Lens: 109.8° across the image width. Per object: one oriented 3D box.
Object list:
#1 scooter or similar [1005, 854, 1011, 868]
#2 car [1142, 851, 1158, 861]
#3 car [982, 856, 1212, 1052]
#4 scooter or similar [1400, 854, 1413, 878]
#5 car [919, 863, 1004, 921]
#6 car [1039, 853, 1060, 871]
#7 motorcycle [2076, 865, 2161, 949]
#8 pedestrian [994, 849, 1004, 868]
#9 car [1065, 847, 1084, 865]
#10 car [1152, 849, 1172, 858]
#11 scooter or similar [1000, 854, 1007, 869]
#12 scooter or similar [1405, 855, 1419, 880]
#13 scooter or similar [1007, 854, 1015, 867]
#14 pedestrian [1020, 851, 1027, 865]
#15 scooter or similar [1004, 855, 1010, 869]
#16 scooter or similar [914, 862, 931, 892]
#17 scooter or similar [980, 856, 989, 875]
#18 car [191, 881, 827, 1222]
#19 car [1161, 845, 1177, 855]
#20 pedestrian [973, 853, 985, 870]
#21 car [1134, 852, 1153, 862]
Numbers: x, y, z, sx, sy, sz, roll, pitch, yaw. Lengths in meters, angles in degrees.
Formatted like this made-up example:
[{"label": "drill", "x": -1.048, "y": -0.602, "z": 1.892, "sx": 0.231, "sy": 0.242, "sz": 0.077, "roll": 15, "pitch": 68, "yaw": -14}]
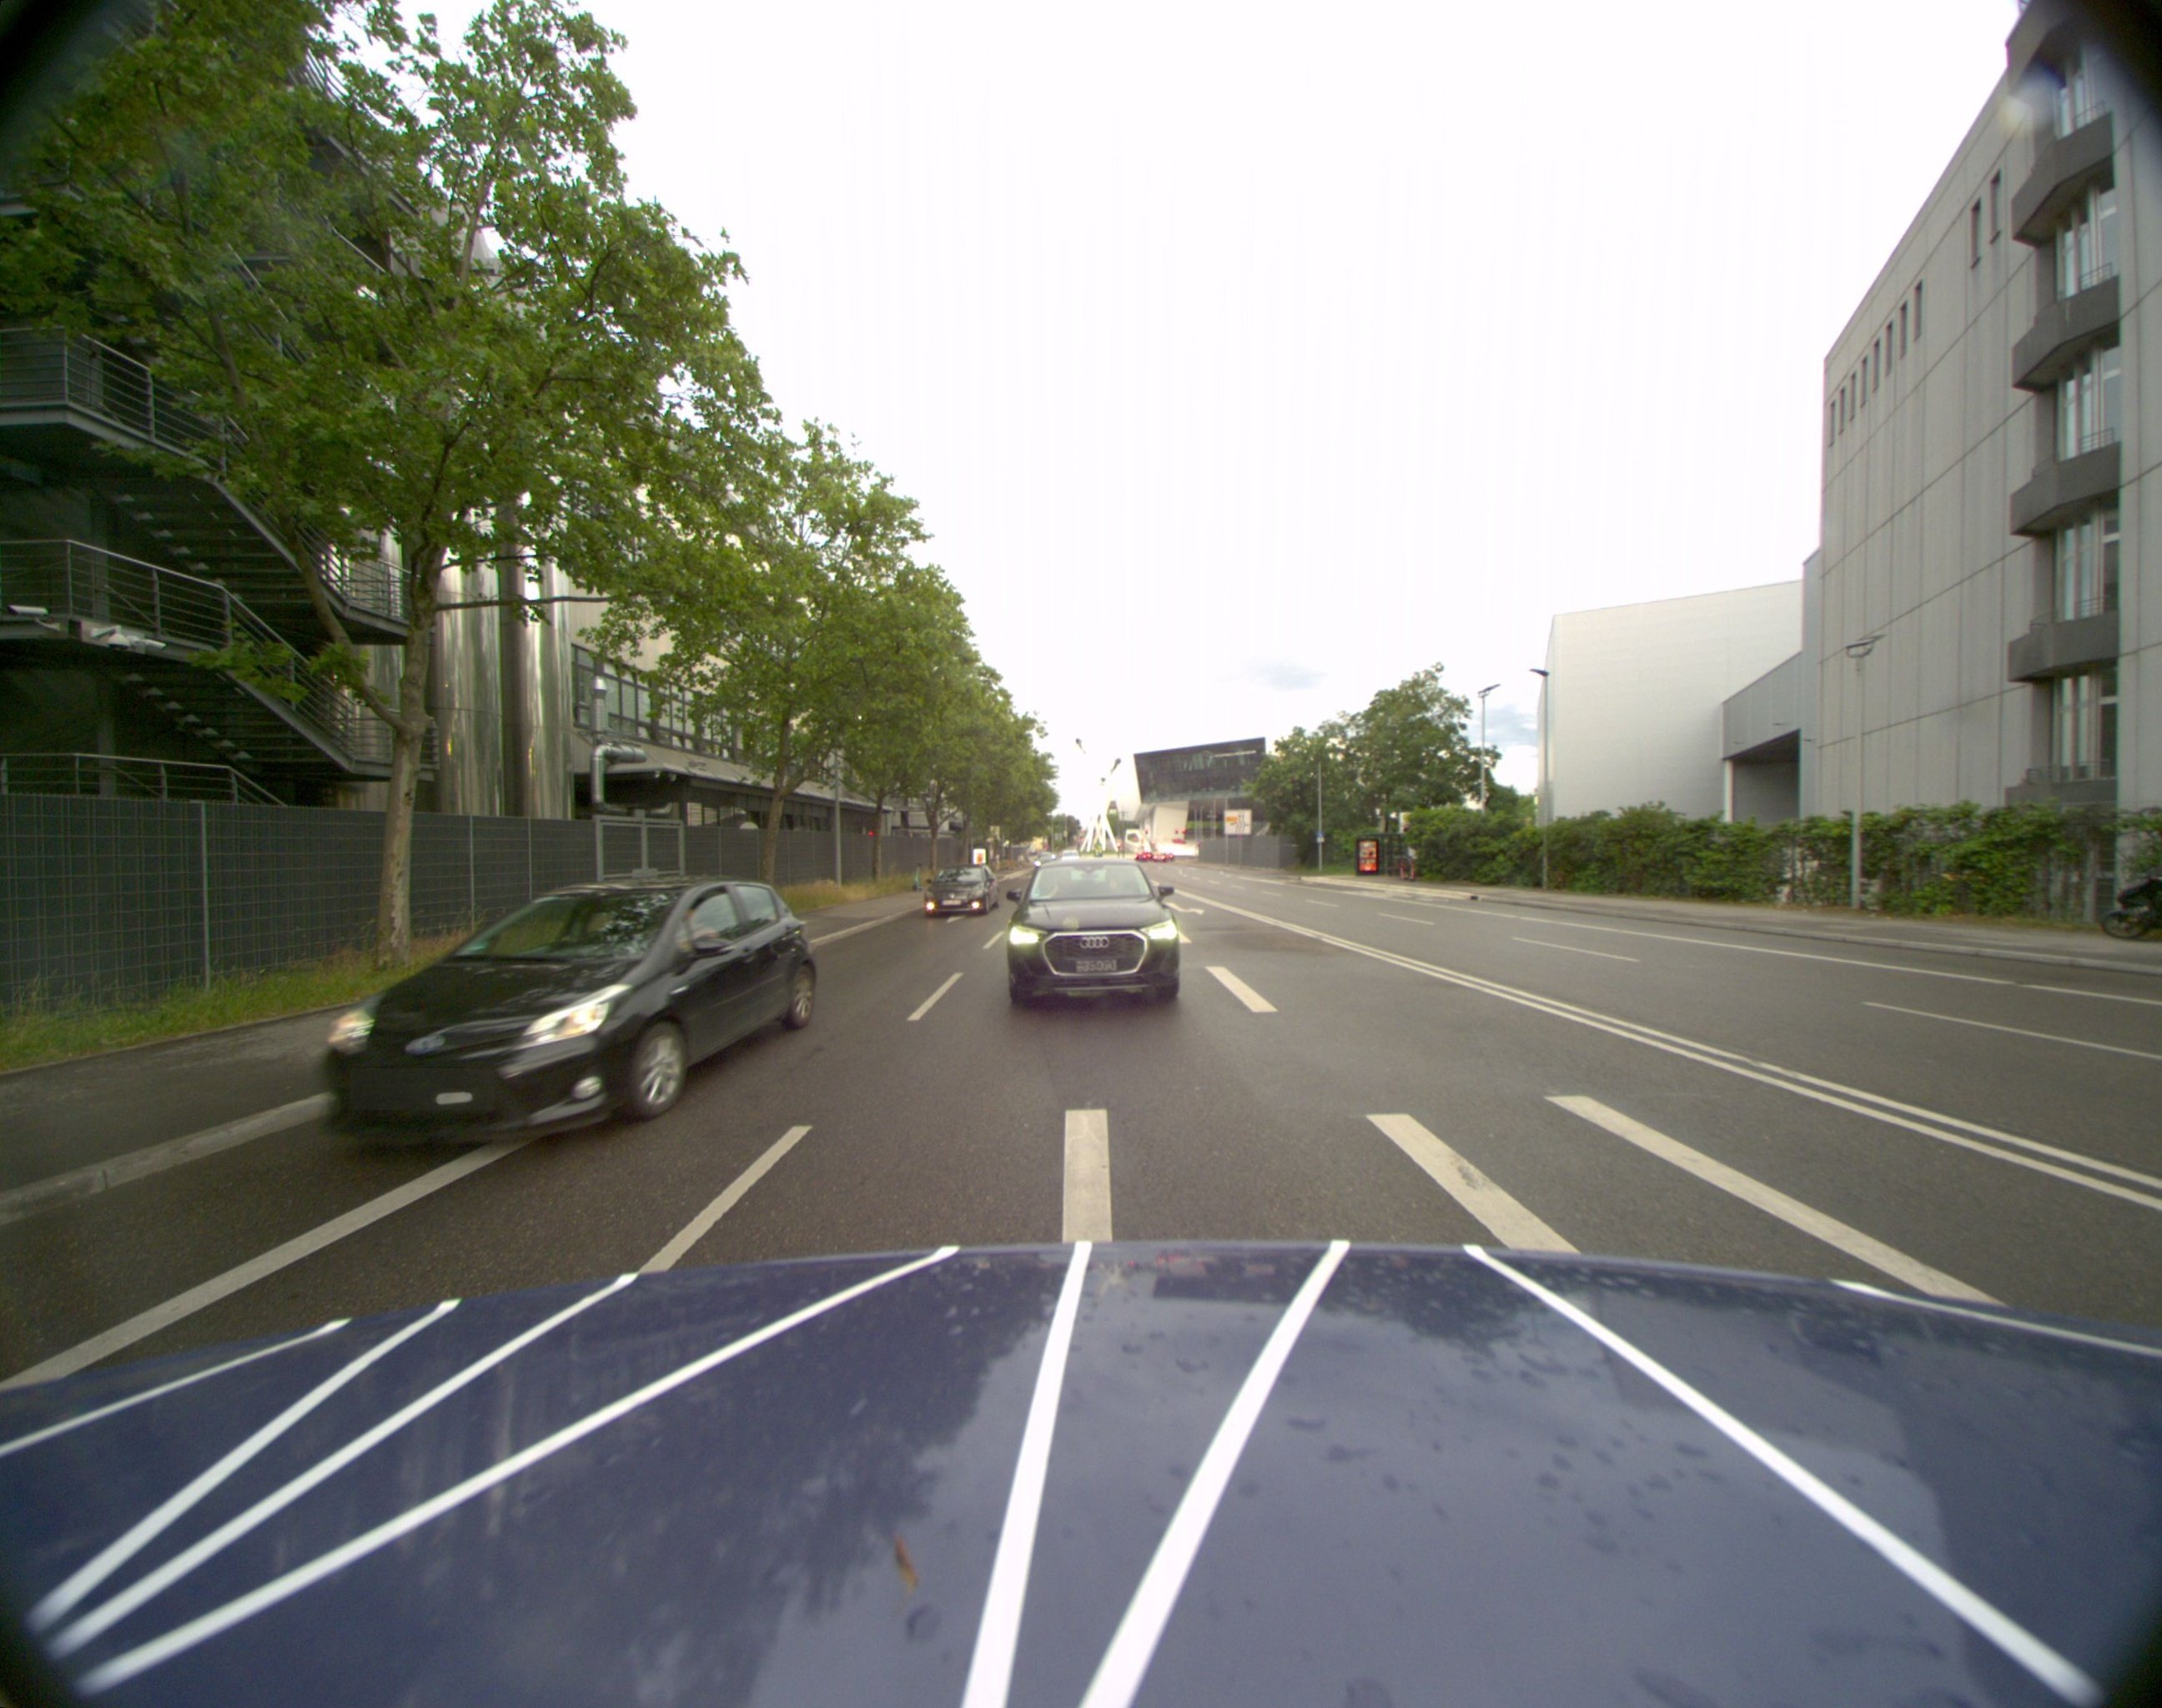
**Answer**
[{"label": "scooter or similar", "x": -7.065, "y": 0.694, "z": 73.657, "sx": 0.437, "sy": 1.288, "sz": 1.300, "roll": -1, "pitch": 1, "yaw": 3}, {"label": "car", "x": 11.661, "y": 0.339, "z": 128.351, "sx": 1.878, "sy": 1.641, "sz": 3.857, "roll": 0, "pitch": 0, "yaw": 16}, {"label": "car", "x": 0.084, "y": 0.871, "z": 9.252, "sx": 1.951, "sy": 1.609, "sz": 5.276, "roll": -2, "pitch": 0, "yaw": -1}, {"label": "scooter or similar", "x": 16.470, "y": 0.617, "z": 38.487, "sx": 0.389, "sy": 1.173, "sz": 1.251, "roll": 0, "pitch": 1, "yaw": 13}, {"label": "car", "x": -3.462, "y": 1.053, "z": 22.861, "sx": 1.842, "sy": 1.444, "sz": 4.785, "roll": -2, "pitch": 0, "yaw": -1}, {"label": "car", "x": -2.960, "y": 0.735, "z": 71.963, "sx": 1.951, "sy": 1.610, "sz": 4.072, "roll": 0, "pitch": 0, "yaw": -1}, {"label": "motorcycle", "x": 16.705, "y": 0.808, "z": 11.369, "sx": 0.786, "sy": 1.243, "sz": 2.157, "roll": -1, "pitch": 1, "yaw": 0}, {"label": "pedestrian", "x": -7.327, "y": 0.384, "z": 67.638, "sx": 0.778, "sy": 1.700, "sz": 0.729, "roll": -1, "pitch": 1, "yaw": -1}, {"label": "car", "x": -0.750, "y": 0.219, "z": 82.149, "sx": 1.951, "sy": 1.879, "sz": 4.490, "roll": 0, "pitch": 0, "yaw": -1}, {"label": "car", "x": 12.890, "y": -0.100, "z": 120.753, "sx": 2.267, "sy": 1.469, "sz": 4.052, "roll": 0, "pitch": 1, "yaw": 18}, {"label": "scooter or similar", "x": -7.134, "y": 0.693, "z": 70.116, "sx": 0.437, "sy": 1.288, "sz": 1.300, "roll": -1, "pitch": 1, "yaw": 3}, {"label": "scooter or similar", "x": 16.115, "y": 0.636, "z": 37.021, "sx": 0.379, "sy": 1.174, "sz": 1.379, "roll": 0, "pitch": 1, "yaw": 13}, {"label": "scooter or similar", "x": -6.960, "y": 0.676, "z": 75.629, "sx": 0.437, "sy": 1.288, "sz": 1.367, "roll": -1, "pitch": 1, "yaw": 7}, {"label": "pedestrian", "x": -6.820, "y": 0.471, "z": 90.560, "sx": 0.723, "sy": 1.610, "sz": 0.833, "roll": 1, "pitch": 2, "yaw": -1}, {"label": "scooter or similar", "x": -6.964, "y": 0.706, "z": 71.535, "sx": 0.437, "sy": 1.288, "sz": 1.300, "roll": -1, "pitch": 1, "yaw": 3}, {"label": "scooter or similar", "x": -6.875, "y": 0.991, "z": 33.065, "sx": 0.329, "sy": 1.262, "sz": 1.109, "roll": -1, "pitch": 1, "yaw": 9}, {"label": "scooter or similar", "x": -6.978, "y": 0.813, "z": 54.963, "sx": 0.329, "sy": 1.301, "sz": 1.246, "roll": -1, "pitch": 1, "yaw": 4}, {"label": "car", "x": -3.441, "y": 1.024, "z": 5.740, "sx": 1.881, "sy": 1.485, "sz": 4.075, "roll": 0, "pitch": 0, "yaw": -3}, {"label": "car", "x": 14.827, "y": -0.619, "z": 127.321, "sx": 1.862, "sy": 1.641, "sz": 3.792, "roll": 0, "pitch": 0, "yaw": 19}, {"label": "pedestrian", "x": -8.595, "y": 0.647, "z": 64.196, "sx": 0.933, "sy": 1.408, "sz": 0.698, "roll": -1, "pitch": 1, "yaw": -1}, {"label": "car", "x": 10.116, "y": 0.479, "z": 122.678, "sx": 2.255, "sy": 1.469, "sz": 3.884, "roll": 0, "pitch": 1, "yaw": 18}]
